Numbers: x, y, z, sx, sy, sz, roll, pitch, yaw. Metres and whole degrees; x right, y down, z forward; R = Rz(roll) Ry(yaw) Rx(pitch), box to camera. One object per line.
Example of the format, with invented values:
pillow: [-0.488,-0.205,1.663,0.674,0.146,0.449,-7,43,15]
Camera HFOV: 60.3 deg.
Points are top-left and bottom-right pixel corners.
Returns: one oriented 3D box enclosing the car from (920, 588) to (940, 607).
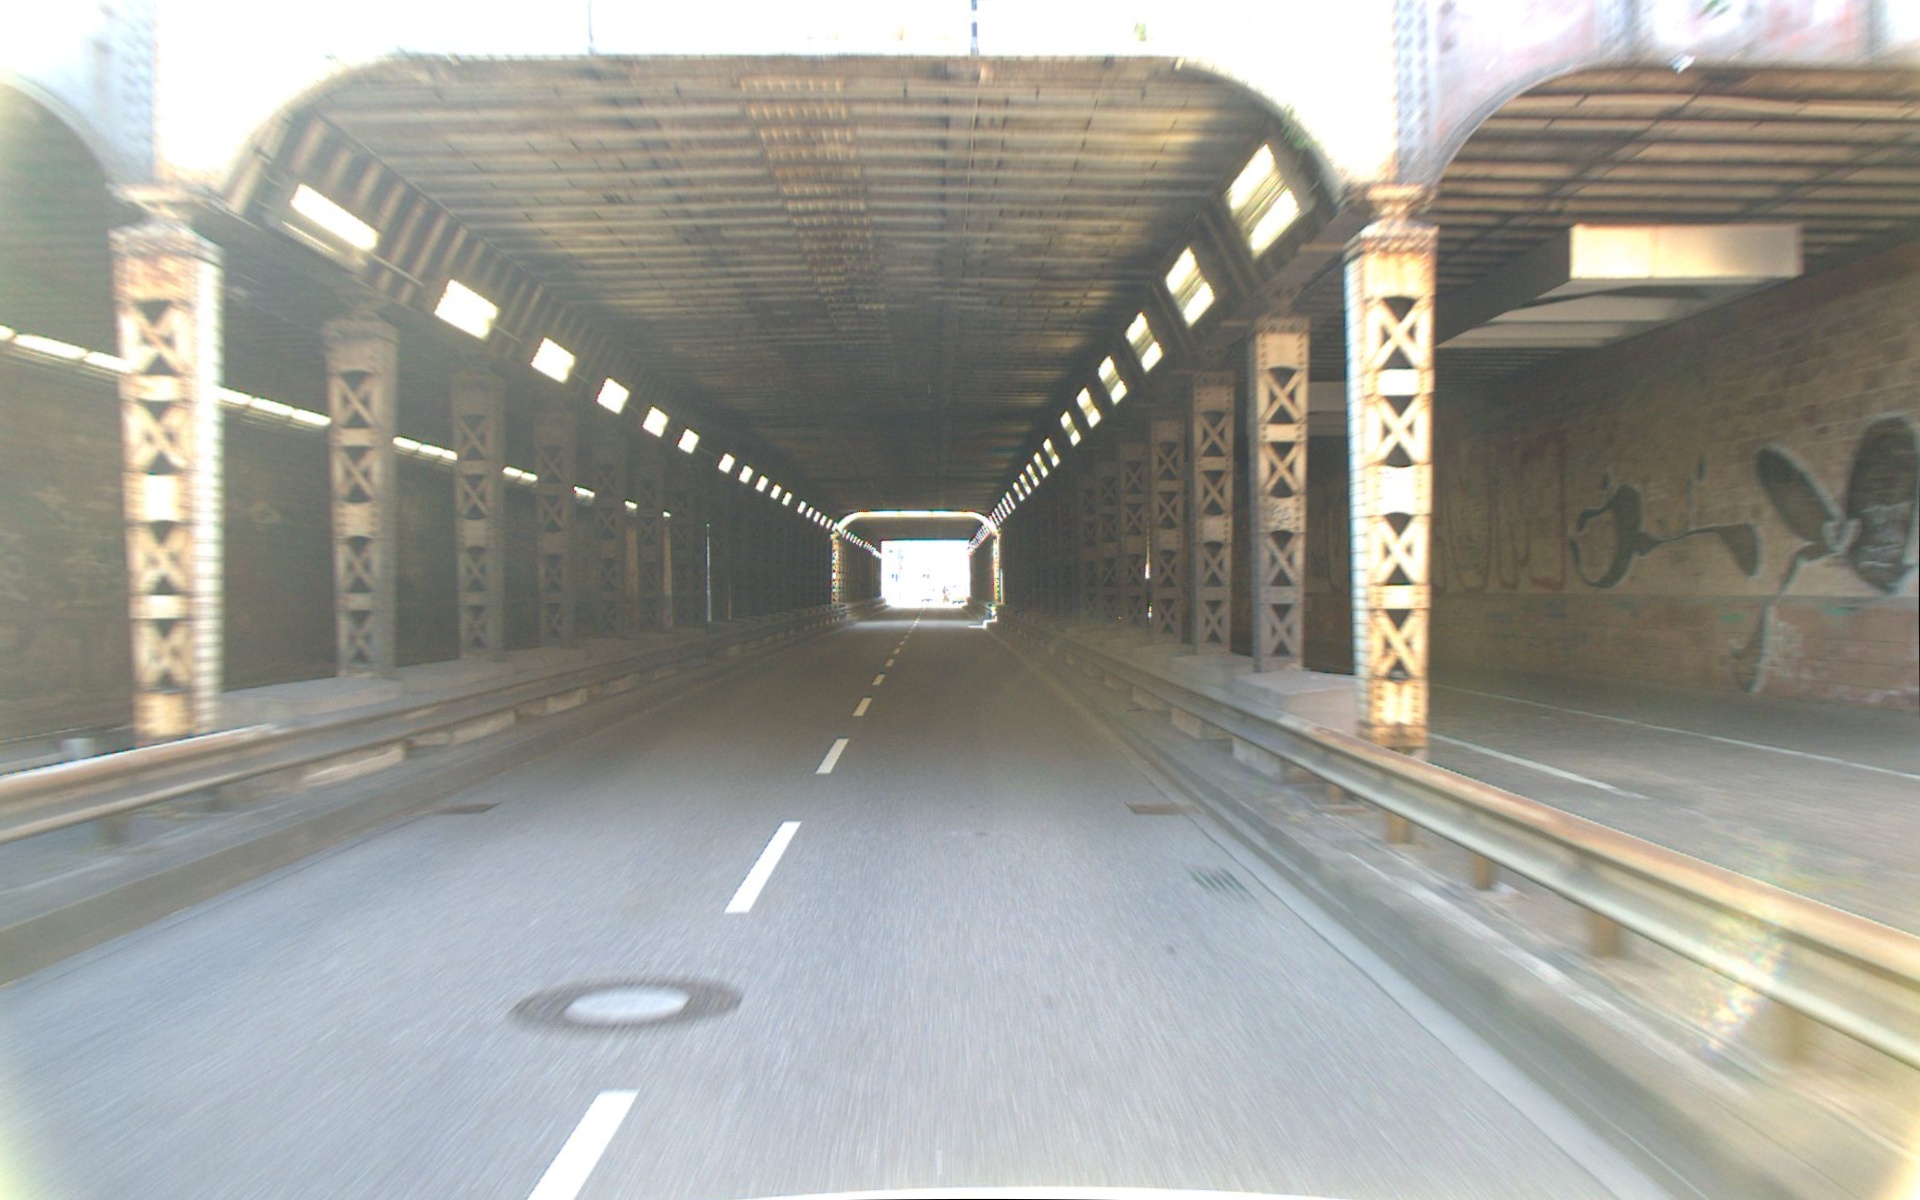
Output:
car: [-2.987,-0.282,164.437,1.953,1.815,3.999,0,0,-1]

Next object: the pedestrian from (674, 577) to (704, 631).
pedestrian: [-10.616,0.156,64.799,0.939,2.091,1.355,0,-1,0]

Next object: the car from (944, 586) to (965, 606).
car: [-0.511,-0.390,157.888,1.953,1.815,3.999,0,0,-1]

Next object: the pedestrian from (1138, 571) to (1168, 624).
pedestrian: [6.401,-0.084,54.859,0.783,1.731,1.111,-1,0,-2]

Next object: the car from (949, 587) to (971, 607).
car: [-0.028,-0.266,148.463,1.953,1.815,3.999,0,0,-1]
